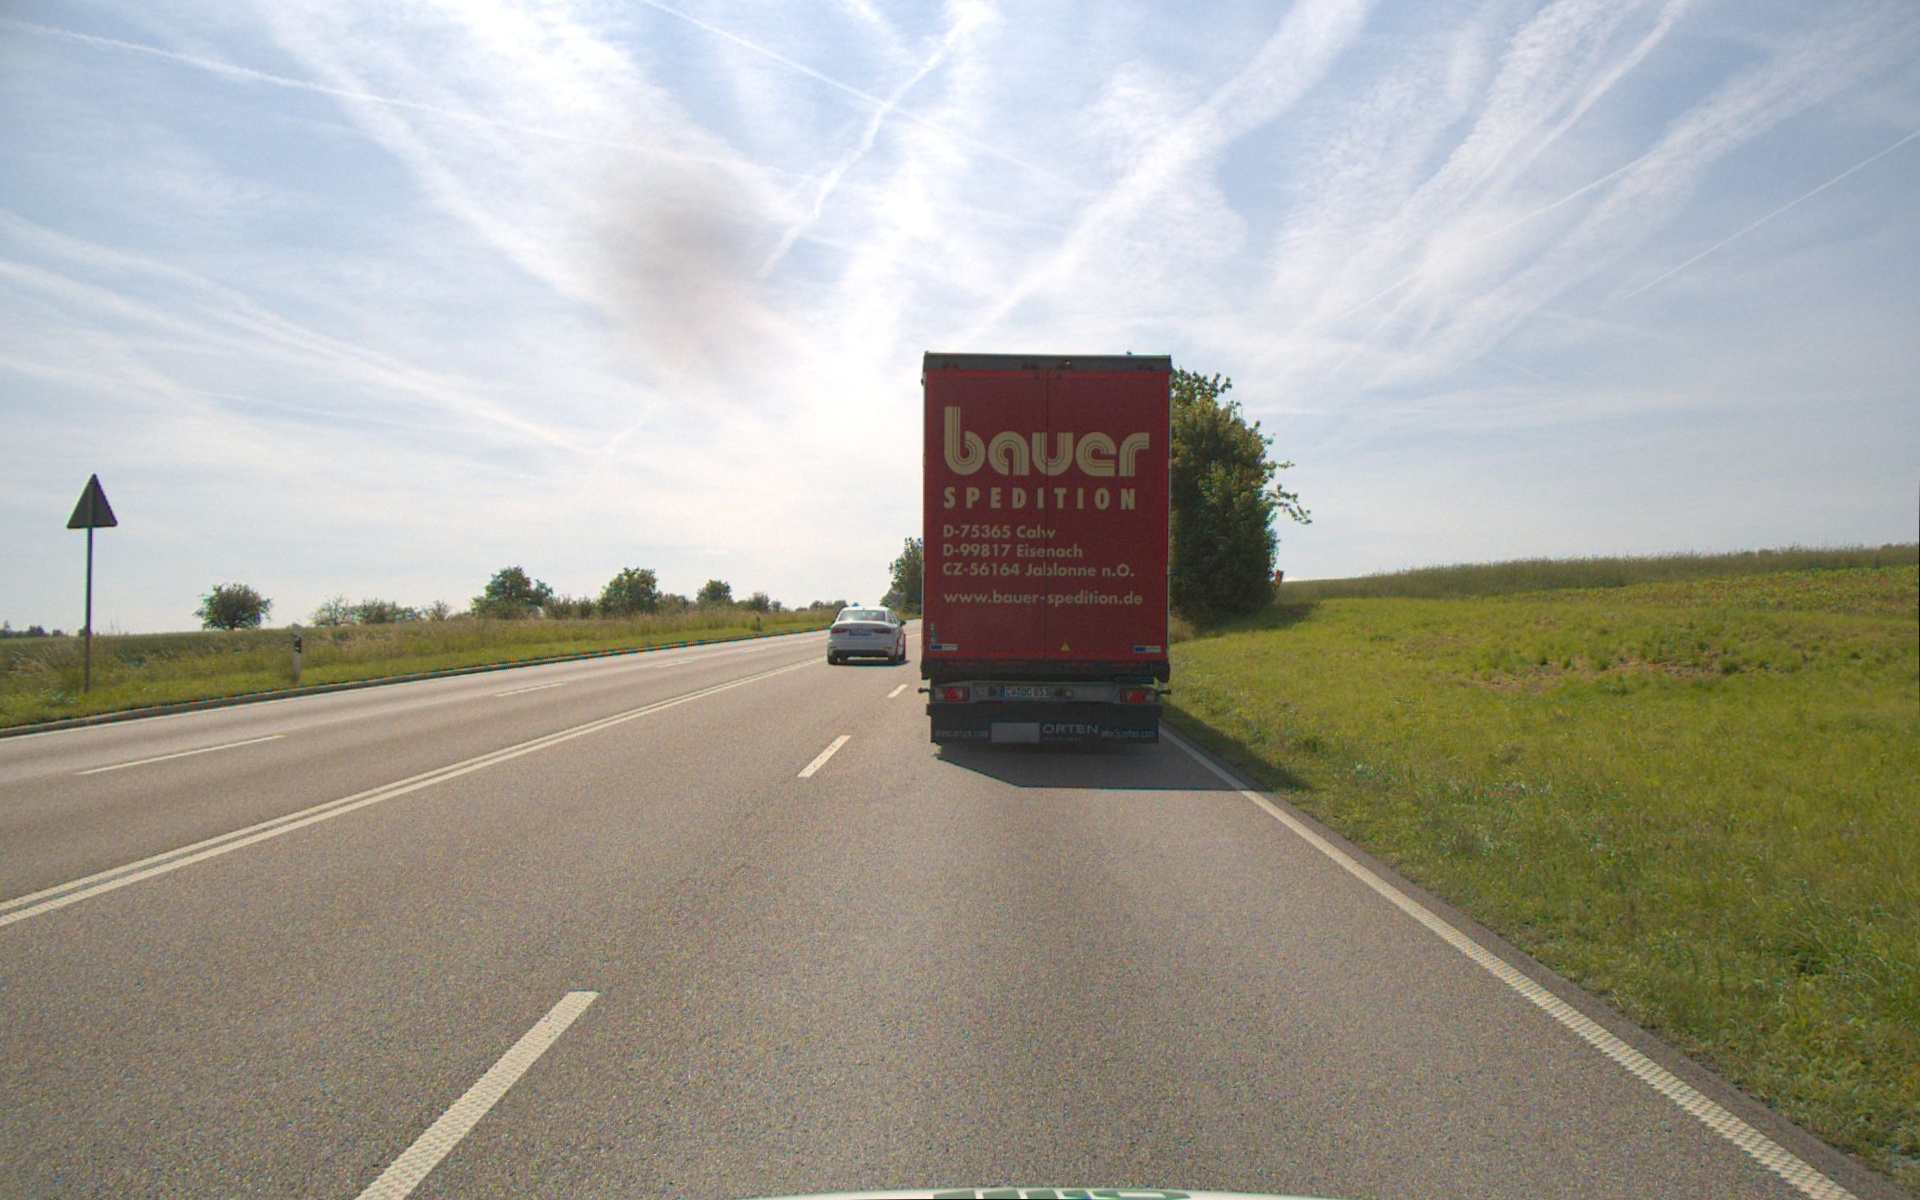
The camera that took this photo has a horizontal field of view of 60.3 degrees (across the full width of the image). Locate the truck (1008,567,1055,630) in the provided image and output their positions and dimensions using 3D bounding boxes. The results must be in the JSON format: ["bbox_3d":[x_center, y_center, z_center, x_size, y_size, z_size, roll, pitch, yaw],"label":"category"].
[{"bbox_3d":[5.050,-0.073,114.138,2.983,3.979,18.404,0,0,3],"label":"truck"}]

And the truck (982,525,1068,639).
[{"bbox_3d":[2.638,-0.602,65.475,2.983,3.979,15.620,0,0,3],"label":"truck"}]

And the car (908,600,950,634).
[{"bbox_3d":[-1.435,0.769,77.702,1.783,1.498,4.789,1,0,1],"label":"car"}]

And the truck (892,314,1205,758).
[{"bbox_3d":[0.758,-0.577,24.472,2.946,4.253,16.710,1,0,-1],"label":"truck"}]

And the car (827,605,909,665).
[{"bbox_3d":[-2.283,0.847,42.019,1.668,1.400,4.604,1,0,2],"label":"car"}]
